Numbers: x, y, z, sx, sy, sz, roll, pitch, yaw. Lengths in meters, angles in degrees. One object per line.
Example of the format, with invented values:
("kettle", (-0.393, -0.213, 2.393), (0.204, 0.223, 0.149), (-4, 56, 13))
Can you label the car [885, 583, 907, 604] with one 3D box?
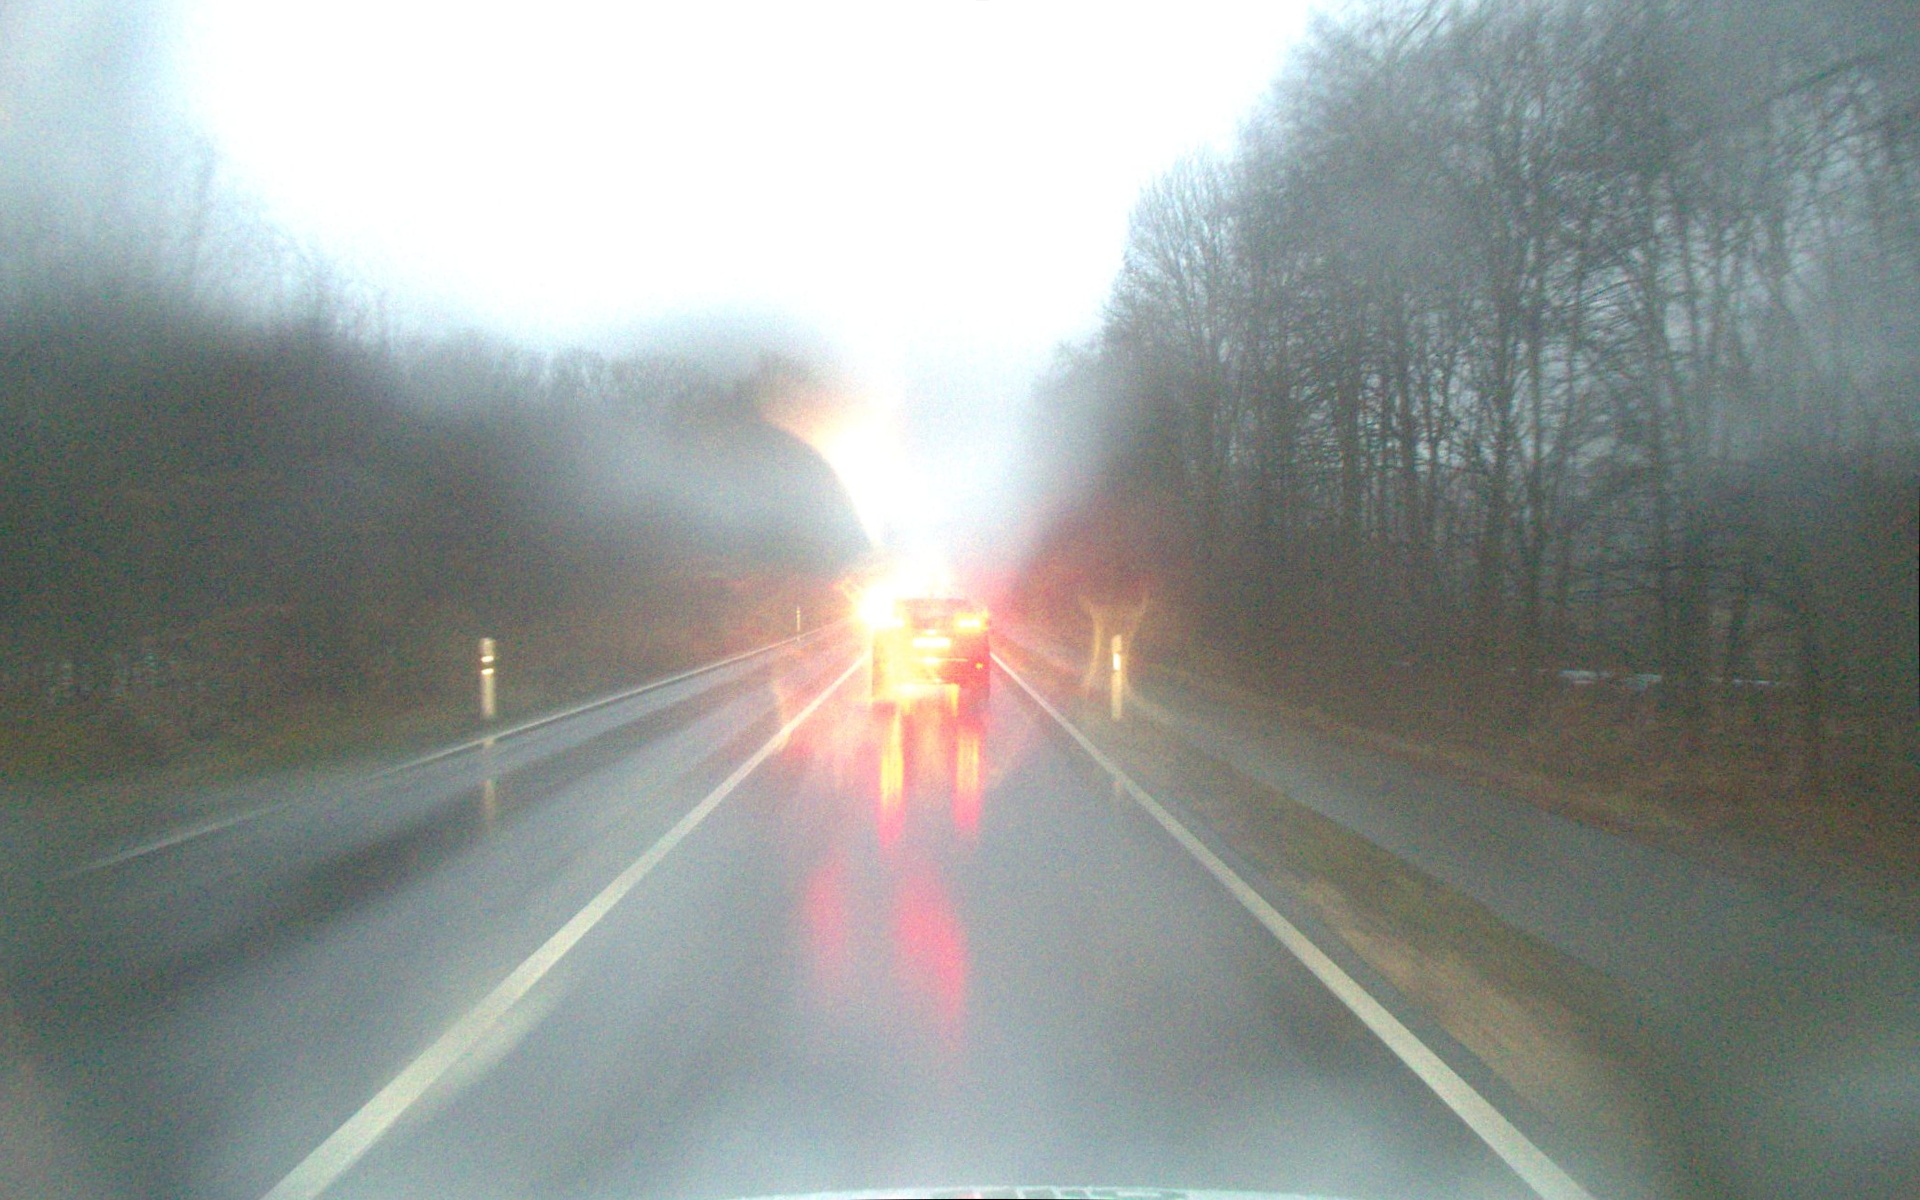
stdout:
("car", (-4.920, -0.520, 127.139), (1.713, 1.579, 3.992), (0, 1, -2))

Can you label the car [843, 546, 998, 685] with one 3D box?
("car", (-0.611, 0.185, 25.709), (2.154, 1.910, 4.826), (1, 1, -2))
